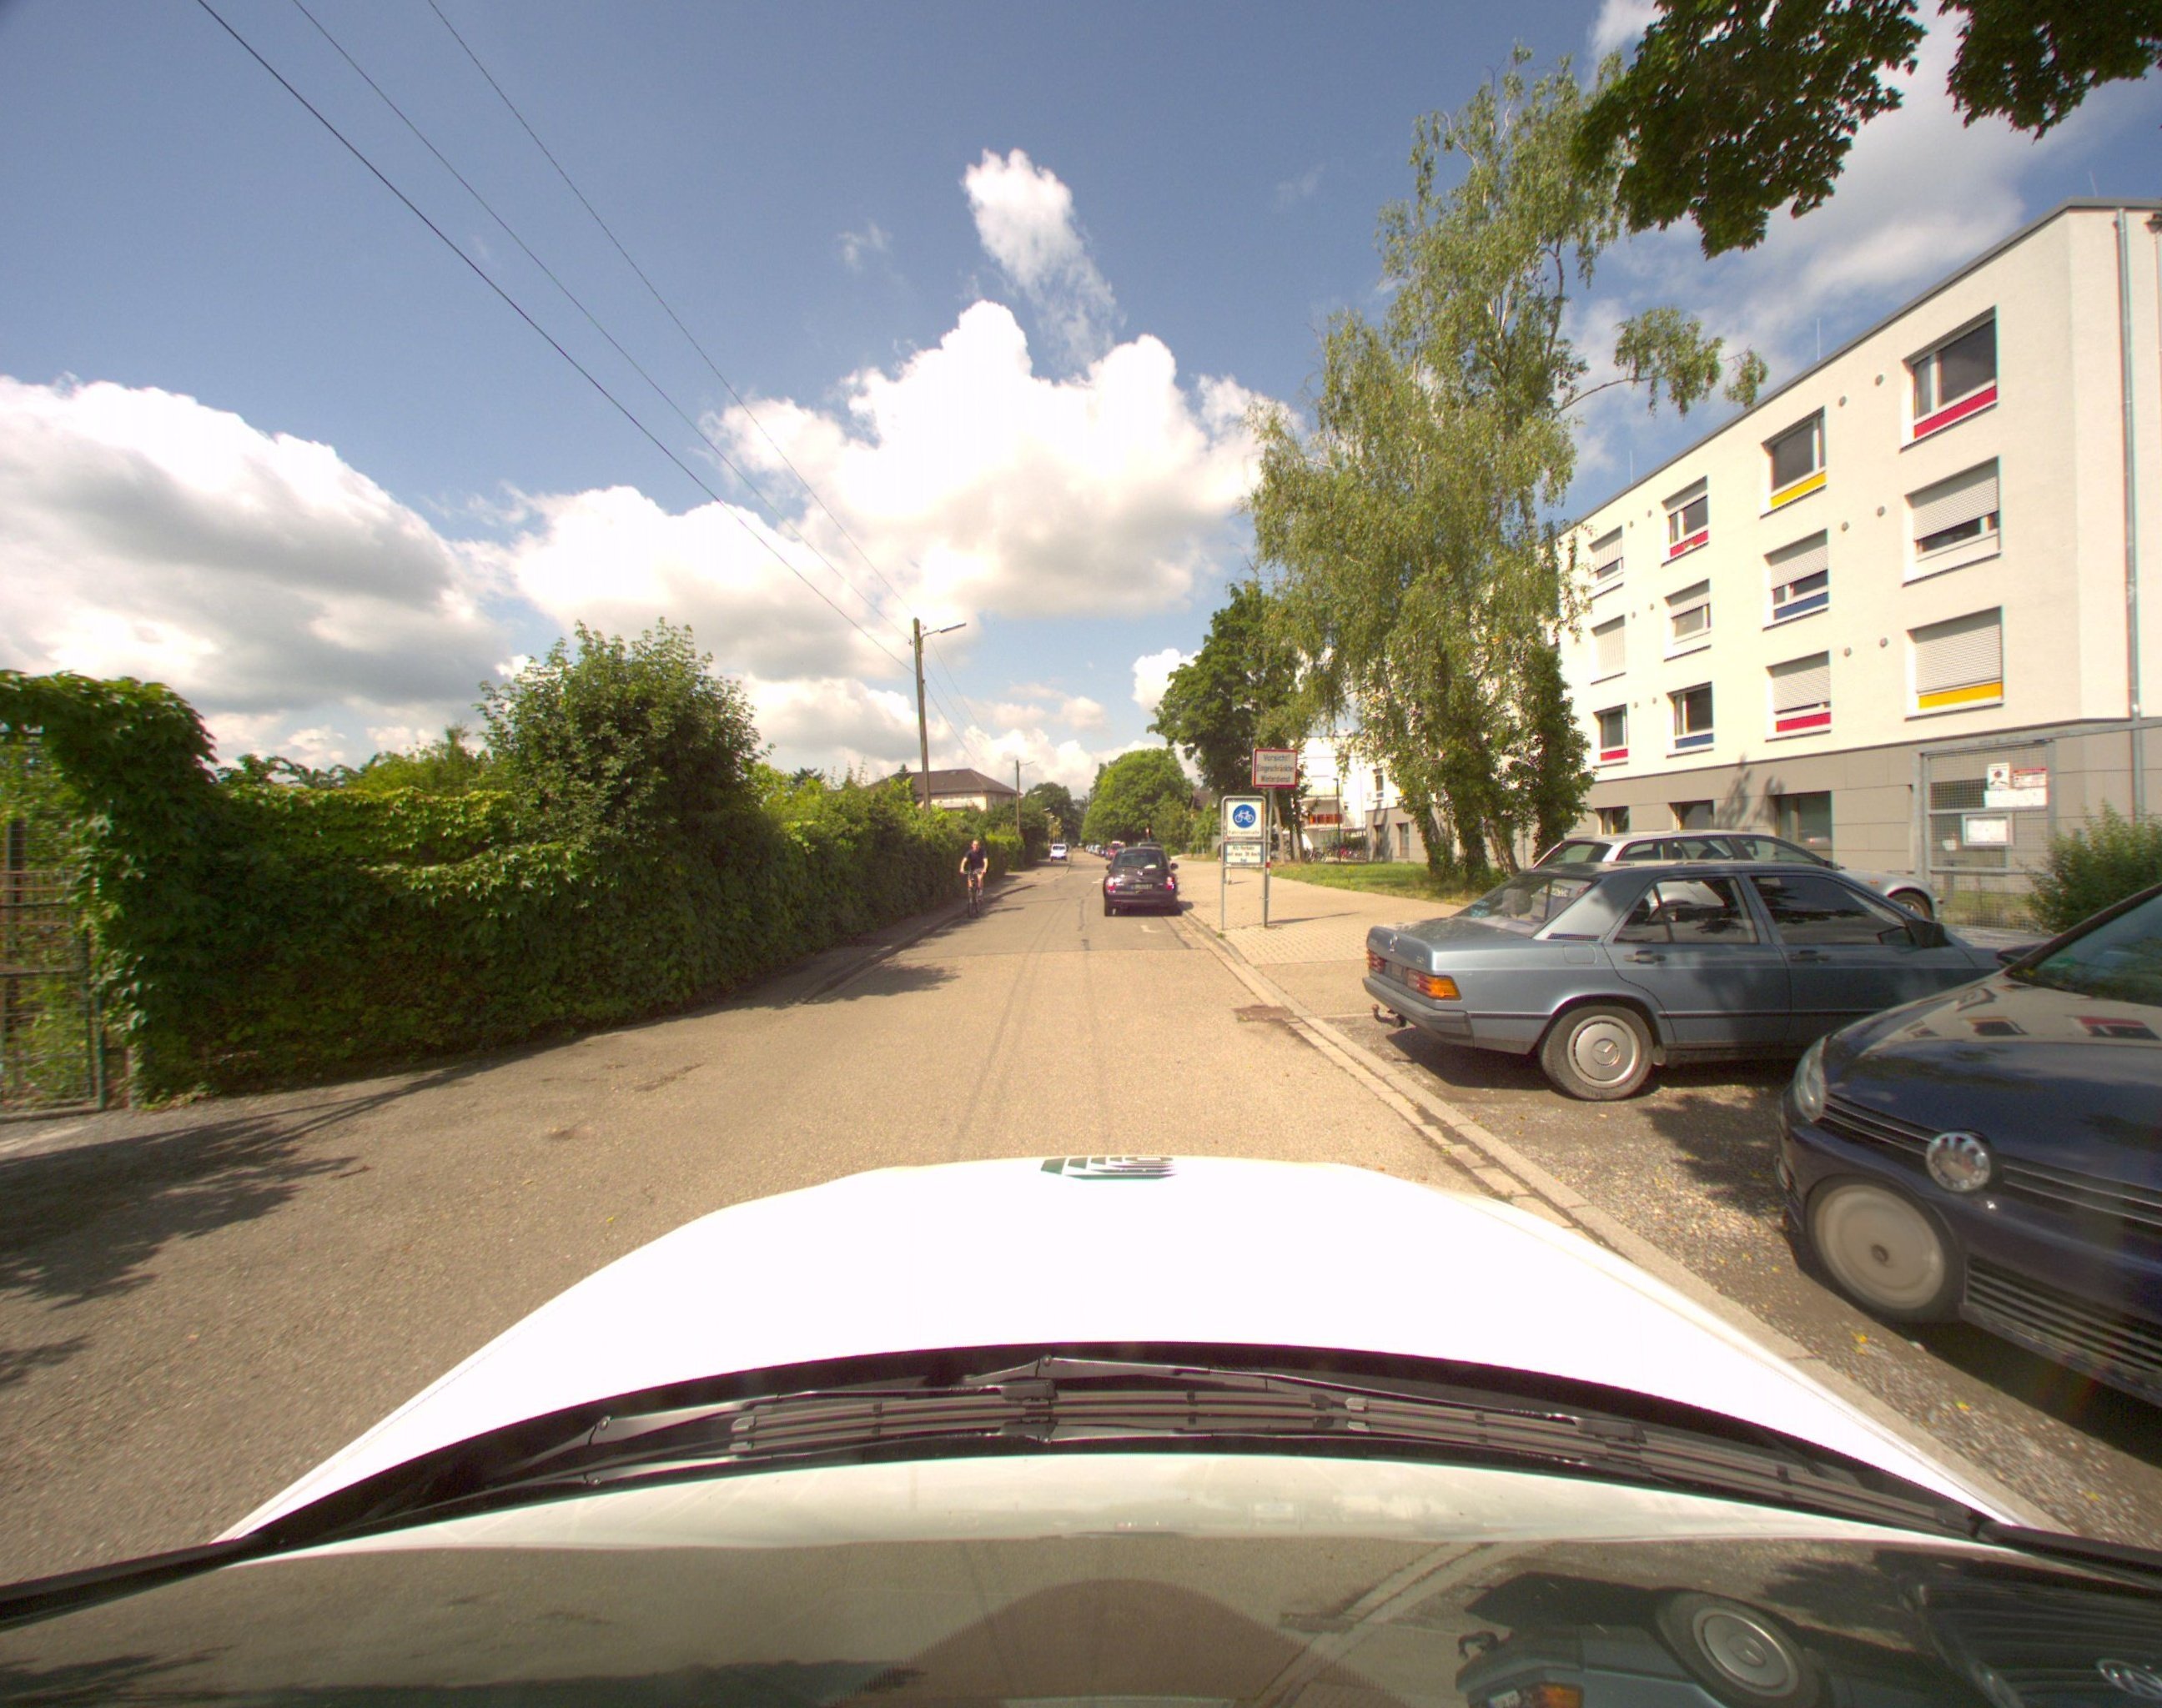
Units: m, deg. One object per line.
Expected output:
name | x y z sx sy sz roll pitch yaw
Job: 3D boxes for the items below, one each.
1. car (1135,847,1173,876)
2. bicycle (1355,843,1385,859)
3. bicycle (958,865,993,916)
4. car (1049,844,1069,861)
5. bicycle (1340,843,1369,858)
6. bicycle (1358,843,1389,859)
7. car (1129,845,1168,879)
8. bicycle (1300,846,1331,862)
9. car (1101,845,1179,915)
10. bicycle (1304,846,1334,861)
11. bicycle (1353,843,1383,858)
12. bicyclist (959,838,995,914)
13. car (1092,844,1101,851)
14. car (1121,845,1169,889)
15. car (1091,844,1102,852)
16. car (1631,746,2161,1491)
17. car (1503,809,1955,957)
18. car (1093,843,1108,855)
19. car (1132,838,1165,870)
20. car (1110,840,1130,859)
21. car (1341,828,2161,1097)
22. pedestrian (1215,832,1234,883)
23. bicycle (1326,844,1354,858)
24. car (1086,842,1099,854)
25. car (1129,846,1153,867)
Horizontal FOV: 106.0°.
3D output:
car | 3.669 0.349 41.436 1.658 1.435 3.542 0 0 1
bicycle | 22.048 -0.249 62.185 2.039 1.079 0.688 -3 0 2
bicycle | -2.651 0.897 20.620 0.516 1.150 1.828 -3 0 2
car | -2.304 -0.164 87.608 1.895 1.814 4.002 0 0 2
bicycle | 21.935 -0.259 65.387 2.039 1.079 0.688 -3 0 2
bicycle | 22.059 -0.230 61.508 2.039 1.079 0.688 -3 0 2
car | 2.996 0.327 36.419 1.656 1.439 3.749 0 0 4
bicycle | 17.728 -0.005 61.557 2.079 1.119 0.625 -3 0 4
car | 1.415 0.549 19.388 1.656 1.506 4.005 0 0 4
bicycle | 18.494 -0.048 63.319 2.039 1.079 0.688 -3 0 2
bicycle | 22.216 -0.254 63.107 2.039 1.079 0.688 -3 0 2
bicyclist | -2.622 0.539 20.575 0.656 1.852 1.043 -3 0 2
car | 3.480 -1.517 182.037 1.844 1.618 4.005 0 0 4
car | 2.480 0.450 30.996 1.655 1.552 3.644 0 0 7
car | 3.201 -1.304 166.922 1.844 1.618 4.005 -2 0 4
car | 4.199 0.542 2.436 3.923 1.559 1.866 0 0 -3
car | 7.829 0.317 10.114 4.229 1.430 1.758 -3 0 -2
car | 2.685 -0.646 112.243 2.050 1.652 4.543 0 0 2
car | 4.021 -0.004 48.764 1.866 1.806 3.436 0 0 4
car | 4.166 -0.477 87.630 2.050 1.926 4.543 0 0 2
car | 4.195 0.627 5.491 4.340 1.392 1.720 -2 0 3
pedestrian | 4.951 0.124 28.064 0.606 1.745 0.724 0 0 13
bicycle | 21.647 -0.270 68.123 2.039 1.079 0.688 -3 0 2
car | 1.961 -1.049 137.334 2.050 1.961 4.543 0 0 2
car | 4.576 0.164 62.299 1.672 1.519 4.002 0 0 2
